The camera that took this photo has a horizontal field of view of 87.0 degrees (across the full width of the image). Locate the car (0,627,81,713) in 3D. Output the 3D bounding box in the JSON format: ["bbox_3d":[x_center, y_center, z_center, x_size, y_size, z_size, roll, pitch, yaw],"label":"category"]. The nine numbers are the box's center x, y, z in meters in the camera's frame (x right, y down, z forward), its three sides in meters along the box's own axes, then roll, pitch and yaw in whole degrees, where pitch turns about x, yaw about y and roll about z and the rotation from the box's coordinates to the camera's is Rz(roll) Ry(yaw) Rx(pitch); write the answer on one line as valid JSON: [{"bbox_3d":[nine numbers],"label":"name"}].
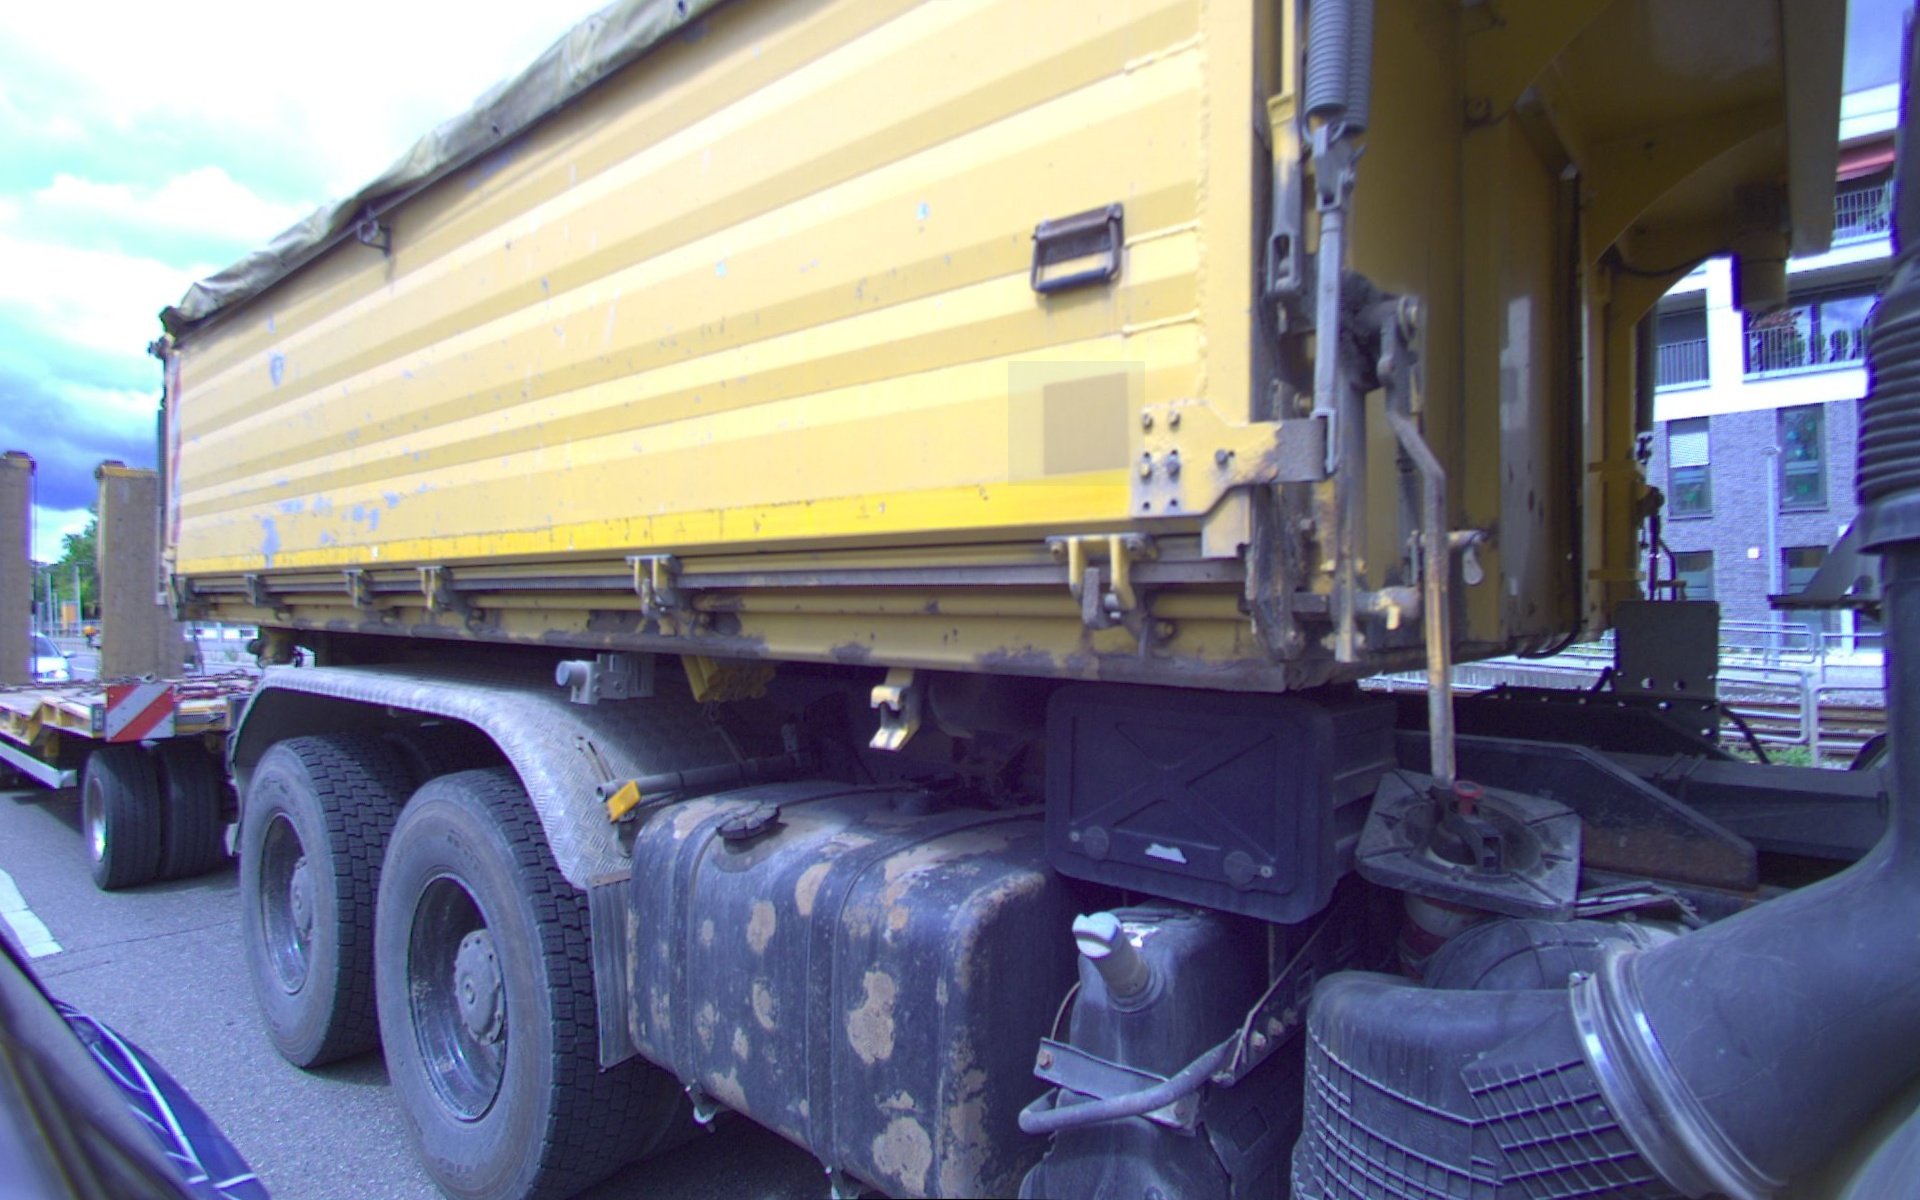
[{"bbox_3d":[-17.688,1.253,18.660,3.784,1.427,1.761,-2,-1,41],"label":"car"}]

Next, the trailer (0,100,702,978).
[{"bbox_3d":[-6.856,-0.139,9.003,10.957,3.726,3.018,-2,-1,40],"label":"trailer"}]

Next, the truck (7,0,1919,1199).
[{"bbox_3d":[0.066,-0.223,2.788,7.999,3.420,3.019,-2,-1,40],"label":"truck"}]
